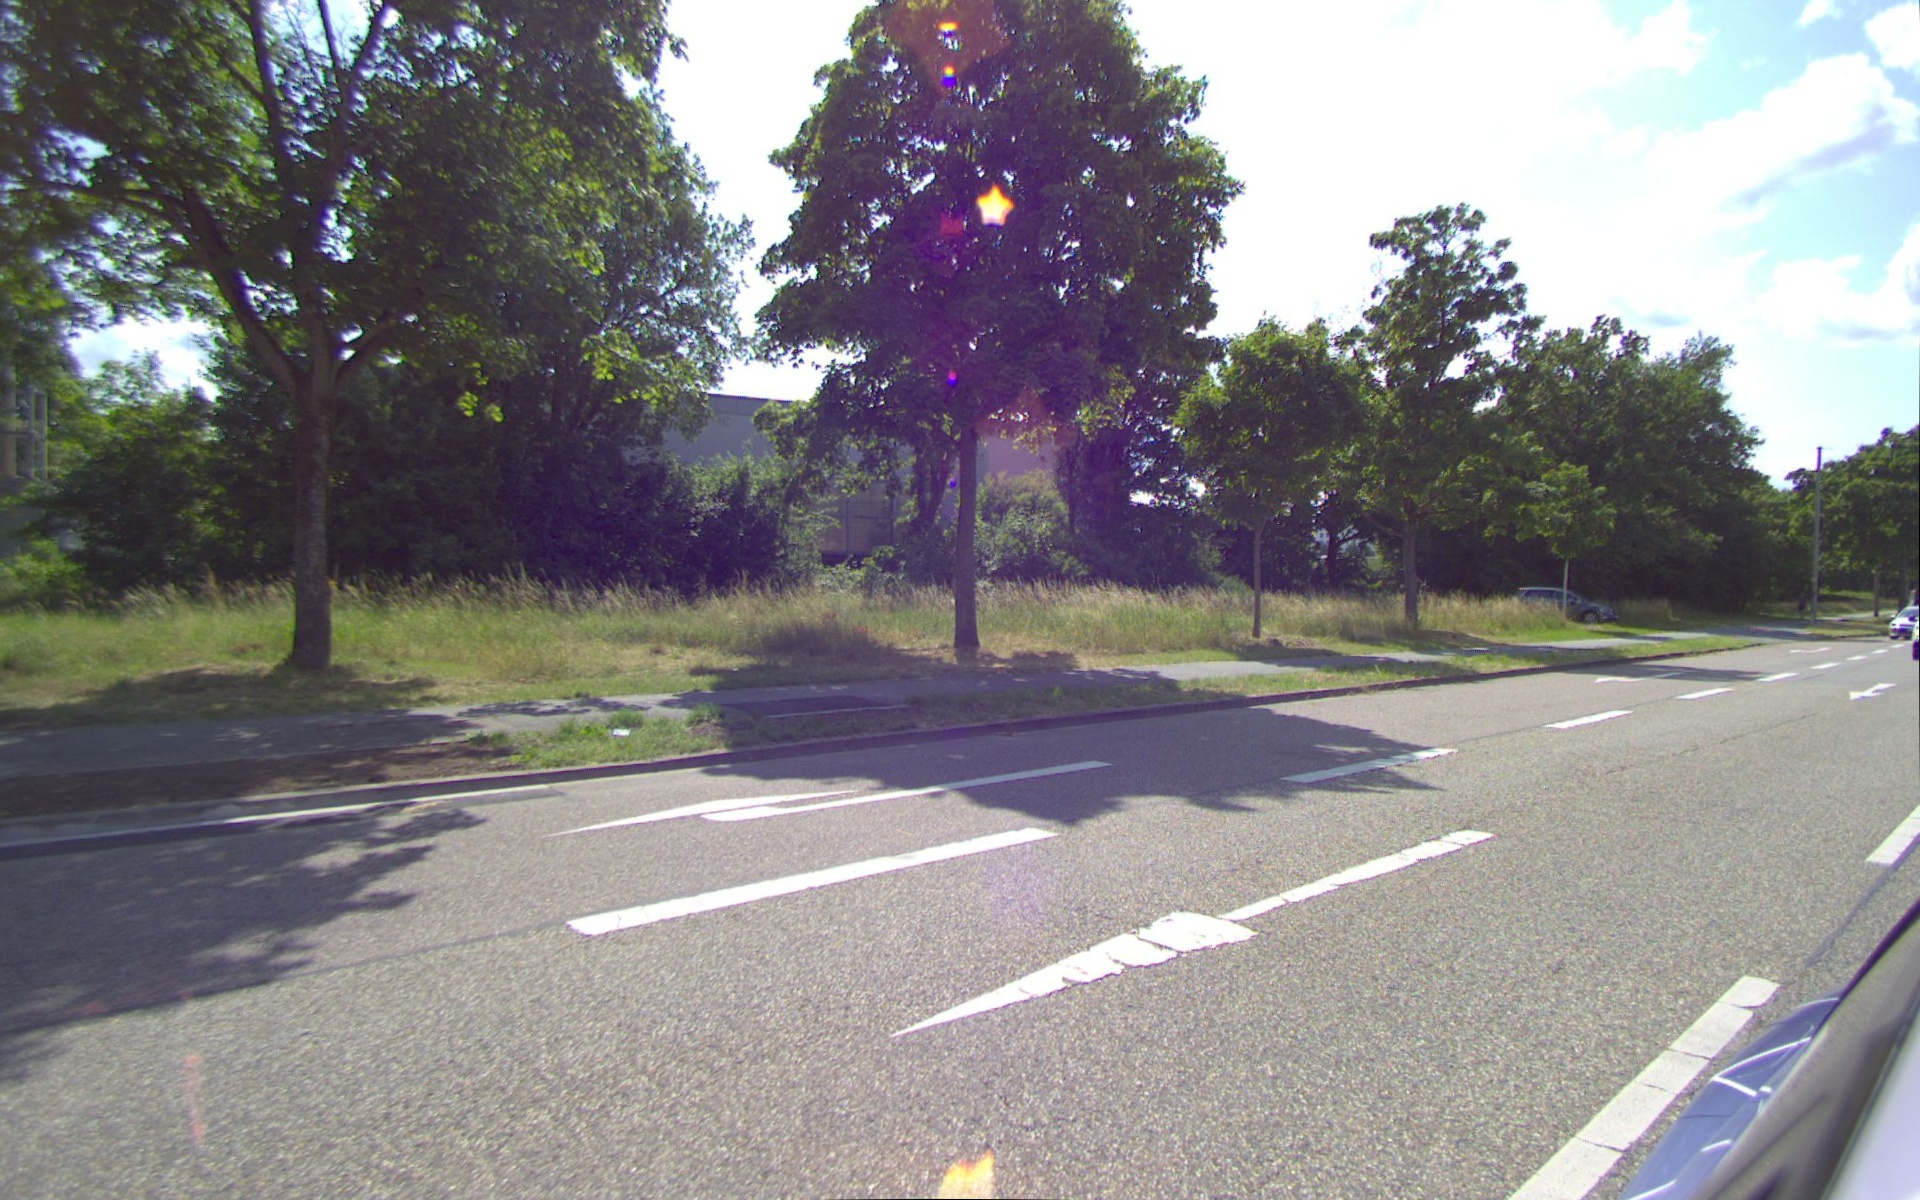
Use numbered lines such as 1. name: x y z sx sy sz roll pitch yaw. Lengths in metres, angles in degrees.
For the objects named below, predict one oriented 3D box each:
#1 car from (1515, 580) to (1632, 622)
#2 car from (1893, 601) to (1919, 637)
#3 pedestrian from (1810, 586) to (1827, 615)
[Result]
1. car: 27.862 0.021 46.027 4.167 1.511 1.755 6 3 45
2. car: 41.865 0.834 43.727 4.019 1.504 1.736 1 1 -39
3. pedestrian: 54.701 0.027 64.478 0.727 1.816 0.718 -1 0 -43
